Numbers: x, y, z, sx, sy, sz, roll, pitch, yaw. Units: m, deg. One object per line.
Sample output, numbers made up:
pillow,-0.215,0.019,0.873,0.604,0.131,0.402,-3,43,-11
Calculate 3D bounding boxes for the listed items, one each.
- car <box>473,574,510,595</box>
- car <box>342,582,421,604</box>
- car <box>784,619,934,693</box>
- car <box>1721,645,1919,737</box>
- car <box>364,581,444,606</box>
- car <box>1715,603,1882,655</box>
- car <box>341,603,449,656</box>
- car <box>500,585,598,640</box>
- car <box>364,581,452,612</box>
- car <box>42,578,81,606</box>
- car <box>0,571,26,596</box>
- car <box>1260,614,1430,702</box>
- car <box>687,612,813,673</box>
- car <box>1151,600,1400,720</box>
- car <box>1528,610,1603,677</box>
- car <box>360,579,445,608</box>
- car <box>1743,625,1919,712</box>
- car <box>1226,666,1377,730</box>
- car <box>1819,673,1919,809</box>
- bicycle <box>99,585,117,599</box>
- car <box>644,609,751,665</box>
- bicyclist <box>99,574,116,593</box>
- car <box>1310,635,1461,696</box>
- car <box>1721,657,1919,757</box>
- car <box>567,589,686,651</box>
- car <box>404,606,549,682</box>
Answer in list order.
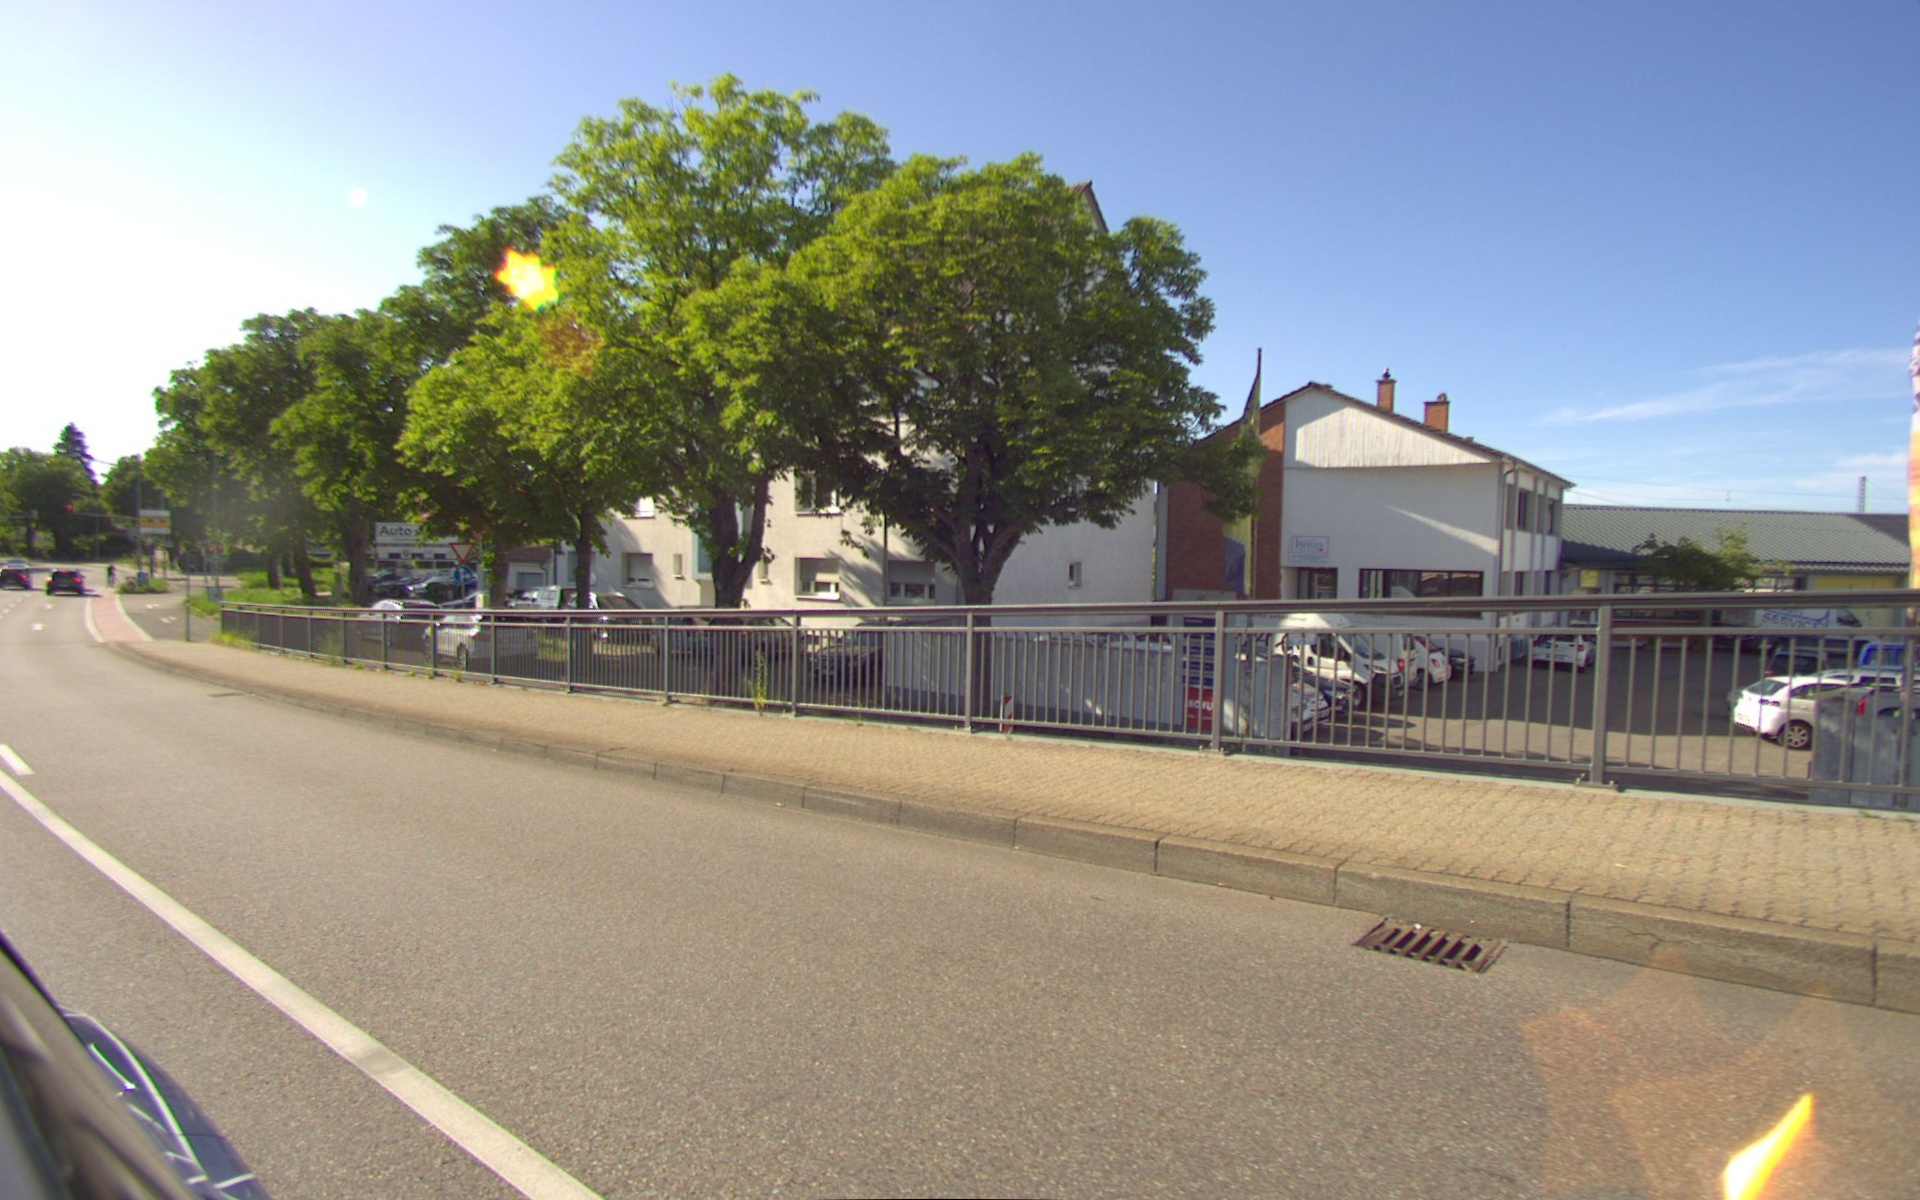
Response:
car,-35.394,-1.196,76.487,1.717,1.472,4.009,-1,3,-37
car,-36.478,-0.457,63.920,2.034,1.249,3.897,1,2,27
car,-2.628,1.415,27.198,1.894,1.595,3.965,1,3,35
car,20.666,2.095,24.058,3.991,1.758,1.977,1,2,35
car,-34.150,-0.435,62.232,1.938,1.423,3.842,1,2,29
car,34.968,1.192,42.294,5.218,2.028,2.000,0,2,0
car,-19.574,0.962,34.978,2.014,1.475,4.965,-1,3,-45
car,-16.660,0.440,40.865,5.105,1.944,1.728,3,3,44
car,-30.986,-0.247,56.894,1.918,1.622,3.953,1,2,35
car,-58.078,-0.545,65.475,1.830,1.749,4.276,-1,2,-41
car,-66.529,-1.182,70.384,3.999,1.611,1.893,4,2,42
car,10.751,1.537,28.351,3.998,2.028,1.973,3,3,40
car,-6.379,1.247,31.180,1.986,1.610,3.972,1,1,21
car,8.168,1.413,26.658,5.887,2.580,2.109,3,3,40
car,21.410,1.467,35.707,1.996,2.028,3.919,1,2,35
car,-32.563,-0.400,59.222,1.990,1.571,3.963,1,2,27
car,24.117,1.810,27.762,3.991,2.028,1.977,1,2,35
car,7.910,2.234,23.556,3.044,1.086,1.285,4,2,40
car,15.968,2.240,15.513,3.989,1.865,1.978,1,2,33
bicycle,-64.696,-0.627,76.846,0.925,1.024,2.202,-1,2,-38
car,-8.436,1.159,32.830,1.768,1.521,3.652,1,2,15
bicyclist,-64.690,-1.247,76.825,0.921,1.412,0.824,-1,2,-38
car,12.649,1.890,30.197,3.810,1.407,1.672,3,3,40
car,18.840,2.213,21.340,3.968,1.739,1.988,1,2,19
car,-12.302,0.660,37.185,4.787,1.944,2.047,3,3,42
car,-14.200,1.202,29.568,5.237,1.741,2.016,3,4,43
